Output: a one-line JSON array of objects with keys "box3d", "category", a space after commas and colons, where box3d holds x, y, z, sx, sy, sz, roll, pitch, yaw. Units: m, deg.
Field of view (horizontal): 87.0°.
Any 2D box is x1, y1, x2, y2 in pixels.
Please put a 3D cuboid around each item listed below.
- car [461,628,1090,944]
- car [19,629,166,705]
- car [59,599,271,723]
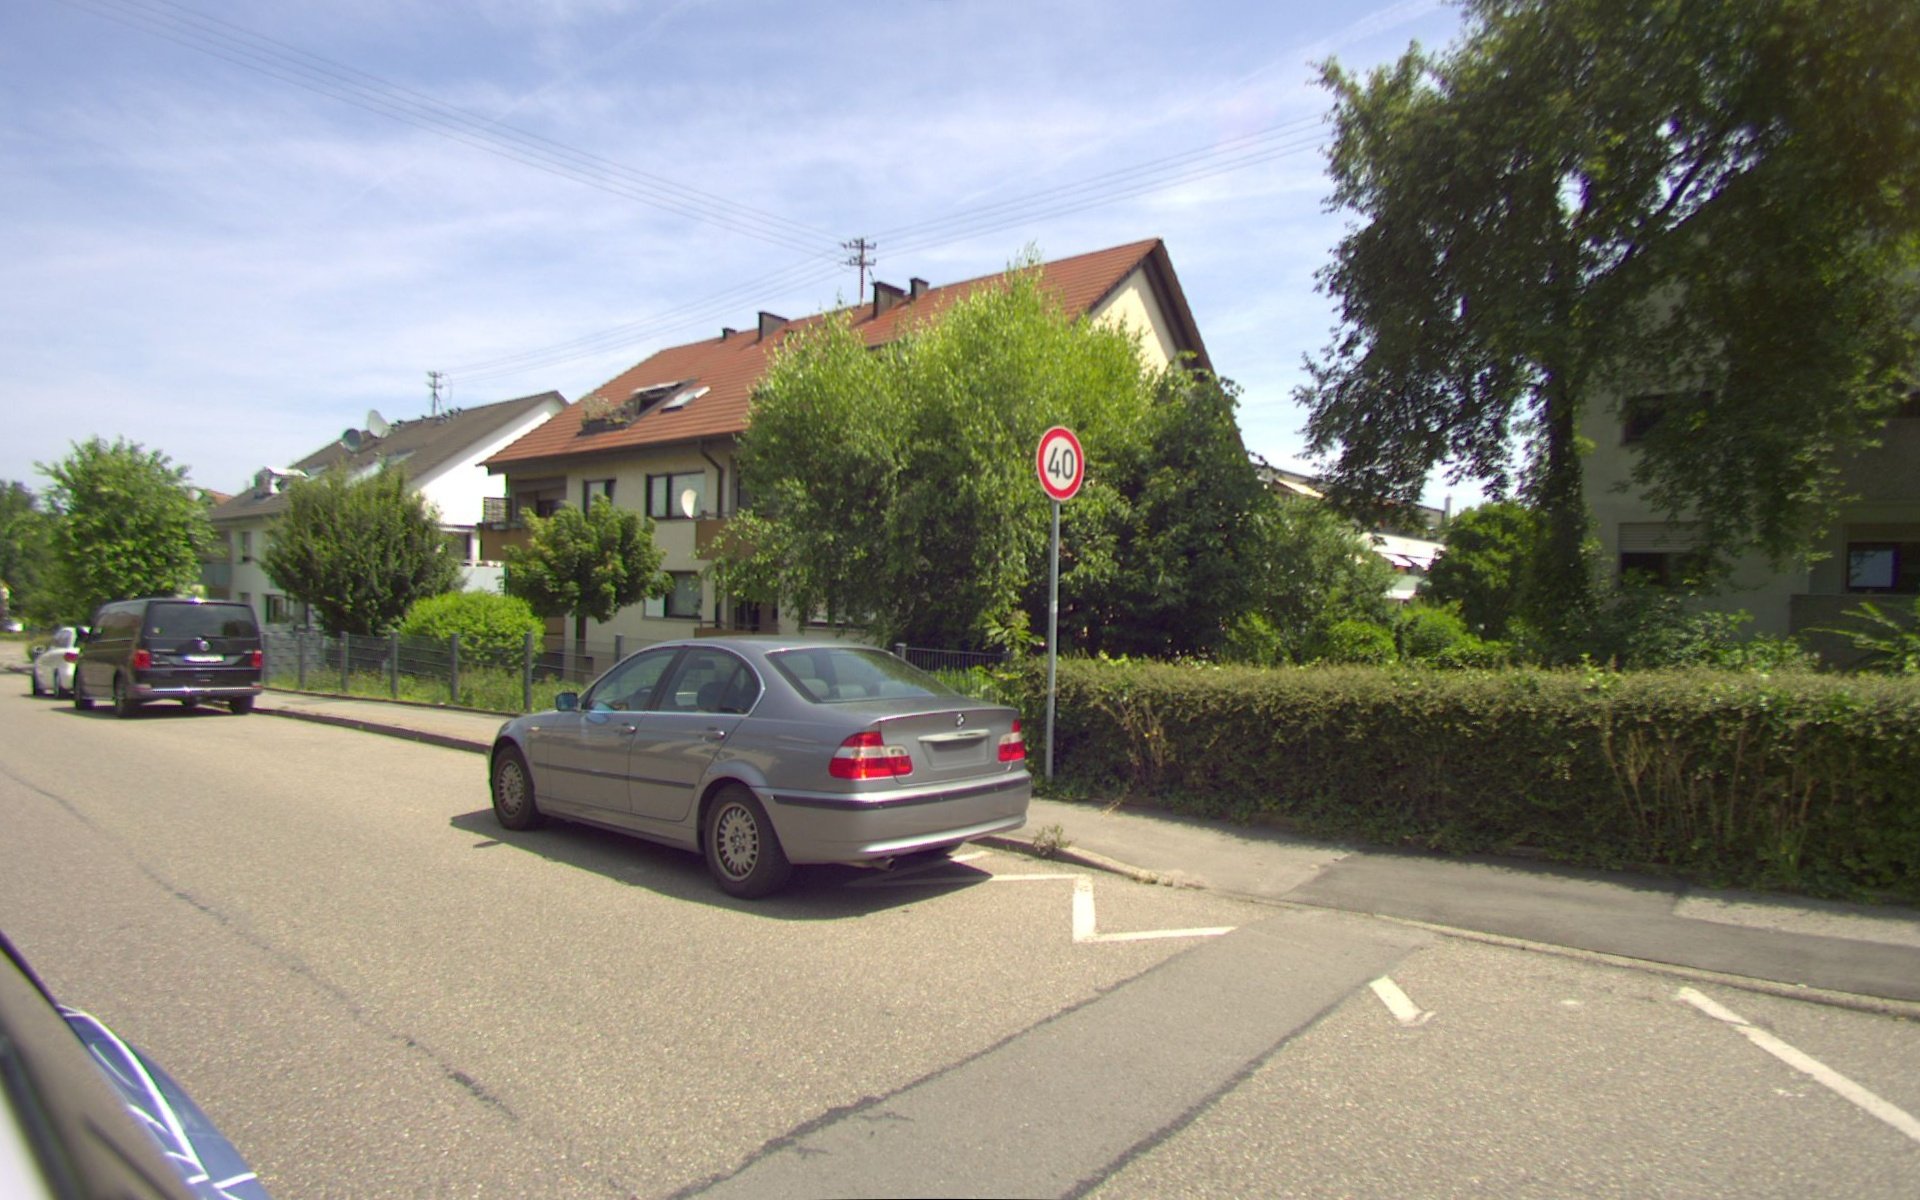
[{"box3d": [-1.466, 0.911, 6.726, 4.407, 1.405, 1.761, -1, -3, 41], "category": "car"}, {"box3d": [-19.710, 1.475, 22.938, 4.238, 1.561, 1.793, -2, -3, 39], "category": "car"}, {"box3d": [-14.221, 1.060, 17.999, 4.864, 1.935, 1.878, -2, -4, 39], "category": "car"}]
